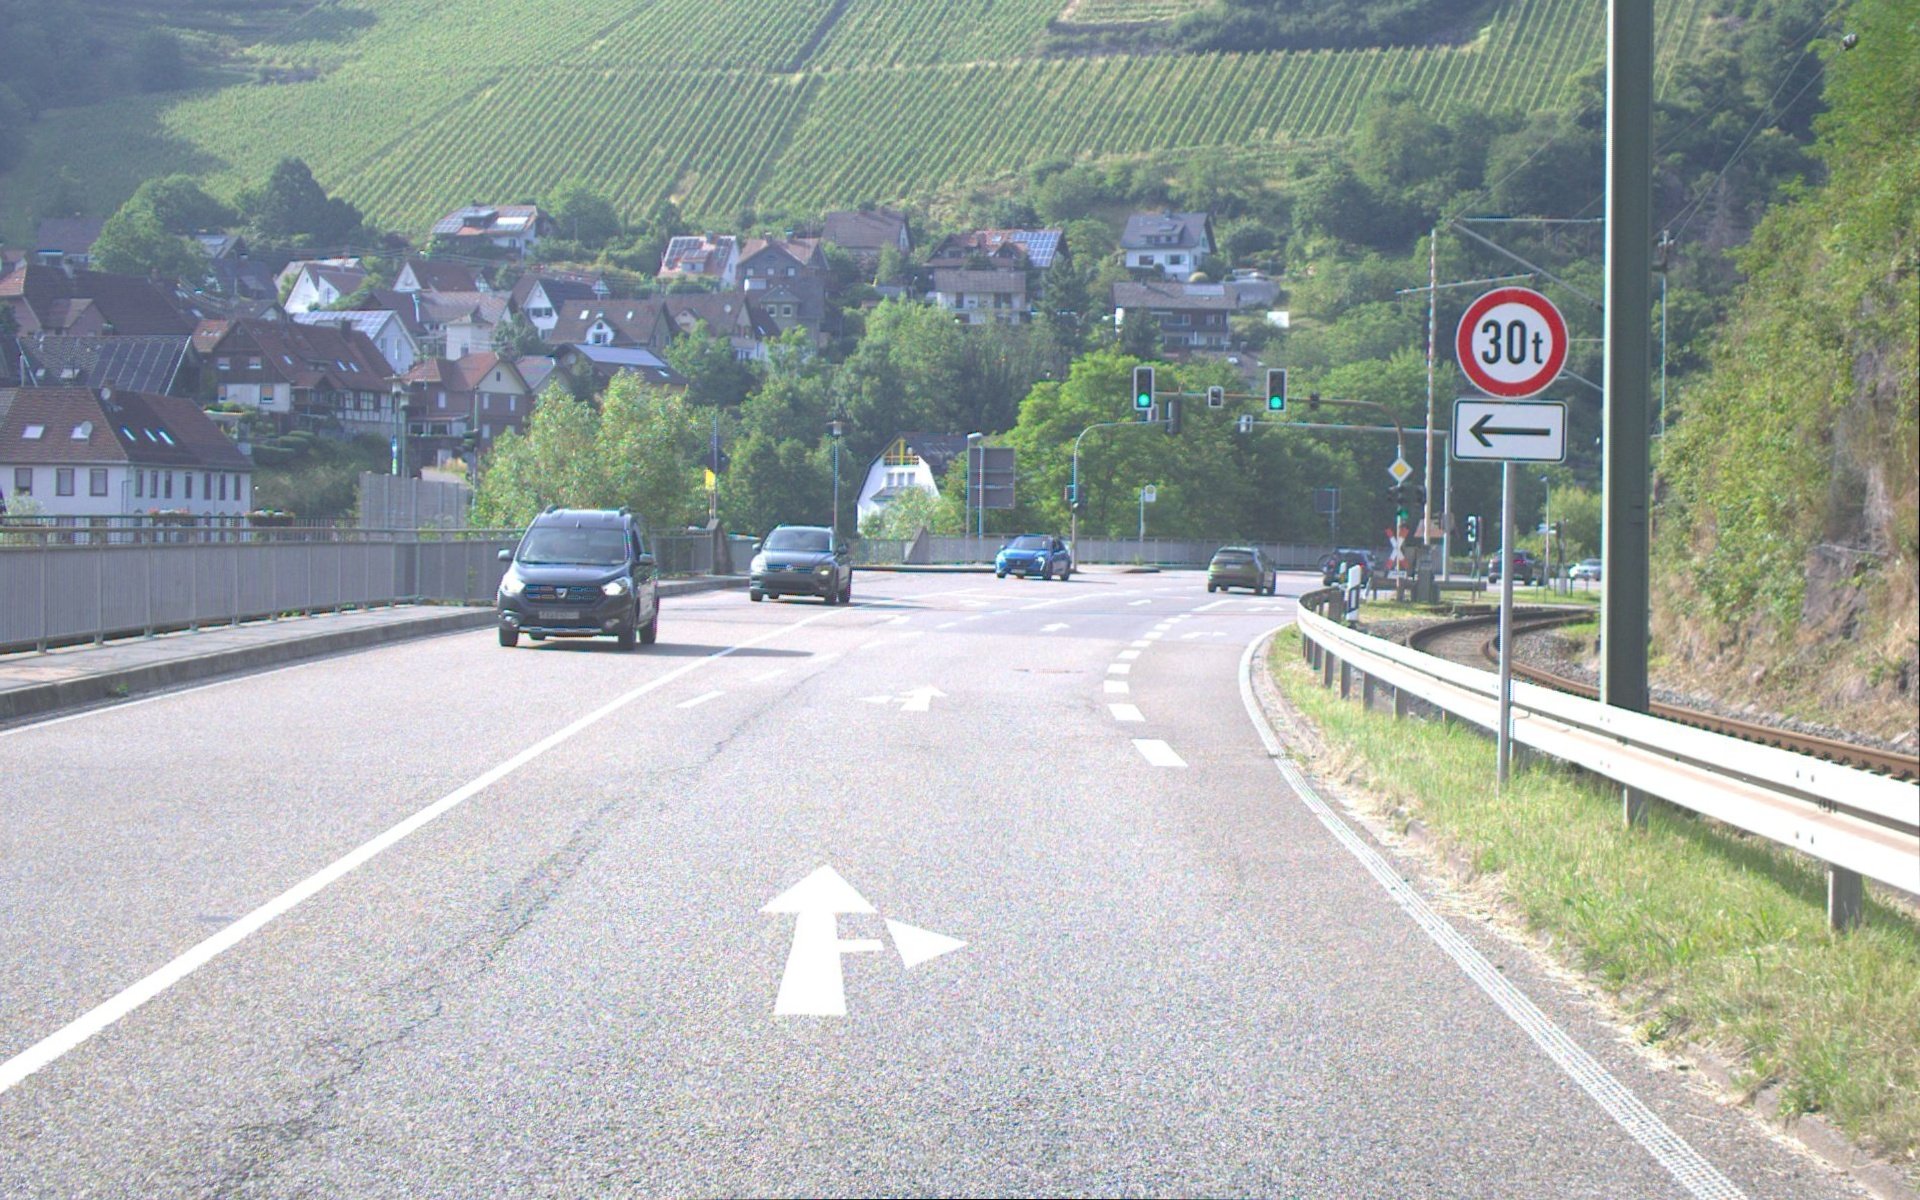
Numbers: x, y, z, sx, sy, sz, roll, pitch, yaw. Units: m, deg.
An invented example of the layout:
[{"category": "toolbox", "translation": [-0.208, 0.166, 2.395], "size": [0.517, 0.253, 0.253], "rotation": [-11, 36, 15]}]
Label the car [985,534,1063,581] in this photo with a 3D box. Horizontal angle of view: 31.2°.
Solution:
[{"category": "car", "translation": [2.149, -1.409, 114.391], "size": [1.783, 1.477, 4.523], "rotation": [2, 1, 11]}]

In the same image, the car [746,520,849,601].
[{"category": "car", "translation": [-3.492, -0.862, 74.480], "size": [1.817, 1.641, 4.612], "rotation": [2, 1, 2]}]

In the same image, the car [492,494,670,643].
[{"category": "car", "translation": [-4.907, -0.441, 45.078], "size": [1.791, 1.821, 4.829], "rotation": [1, 1, 0]}]

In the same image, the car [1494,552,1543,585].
[{"category": "car", "translation": [25.719, -1.449, 158.249], "size": [1.808, 1.448, 3.644], "rotation": [1, 0, 16]}]

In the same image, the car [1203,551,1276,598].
[{"category": "car", "translation": [8.930, -0.817, 109.540], "size": [1.729, 1.452, 3.408], "rotation": [1, 0, 15]}]

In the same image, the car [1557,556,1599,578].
[{"category": "car", "translation": [36.155, -1.948, 201.040], "size": [1.647, 1.227, 4.089], "rotation": [3, 2, 21]}]

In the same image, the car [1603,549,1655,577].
[{"category": "car", "translation": [35.042, -1.926, 180.087], "size": [1.811, 1.403, 3.768], "rotation": [1, 0, 25]}]

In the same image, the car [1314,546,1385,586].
[{"category": "car", "translation": [14.688, -1.260, 129.578], "size": [1.842, 1.454, 3.709], "rotation": [1, 0, 20]}]
